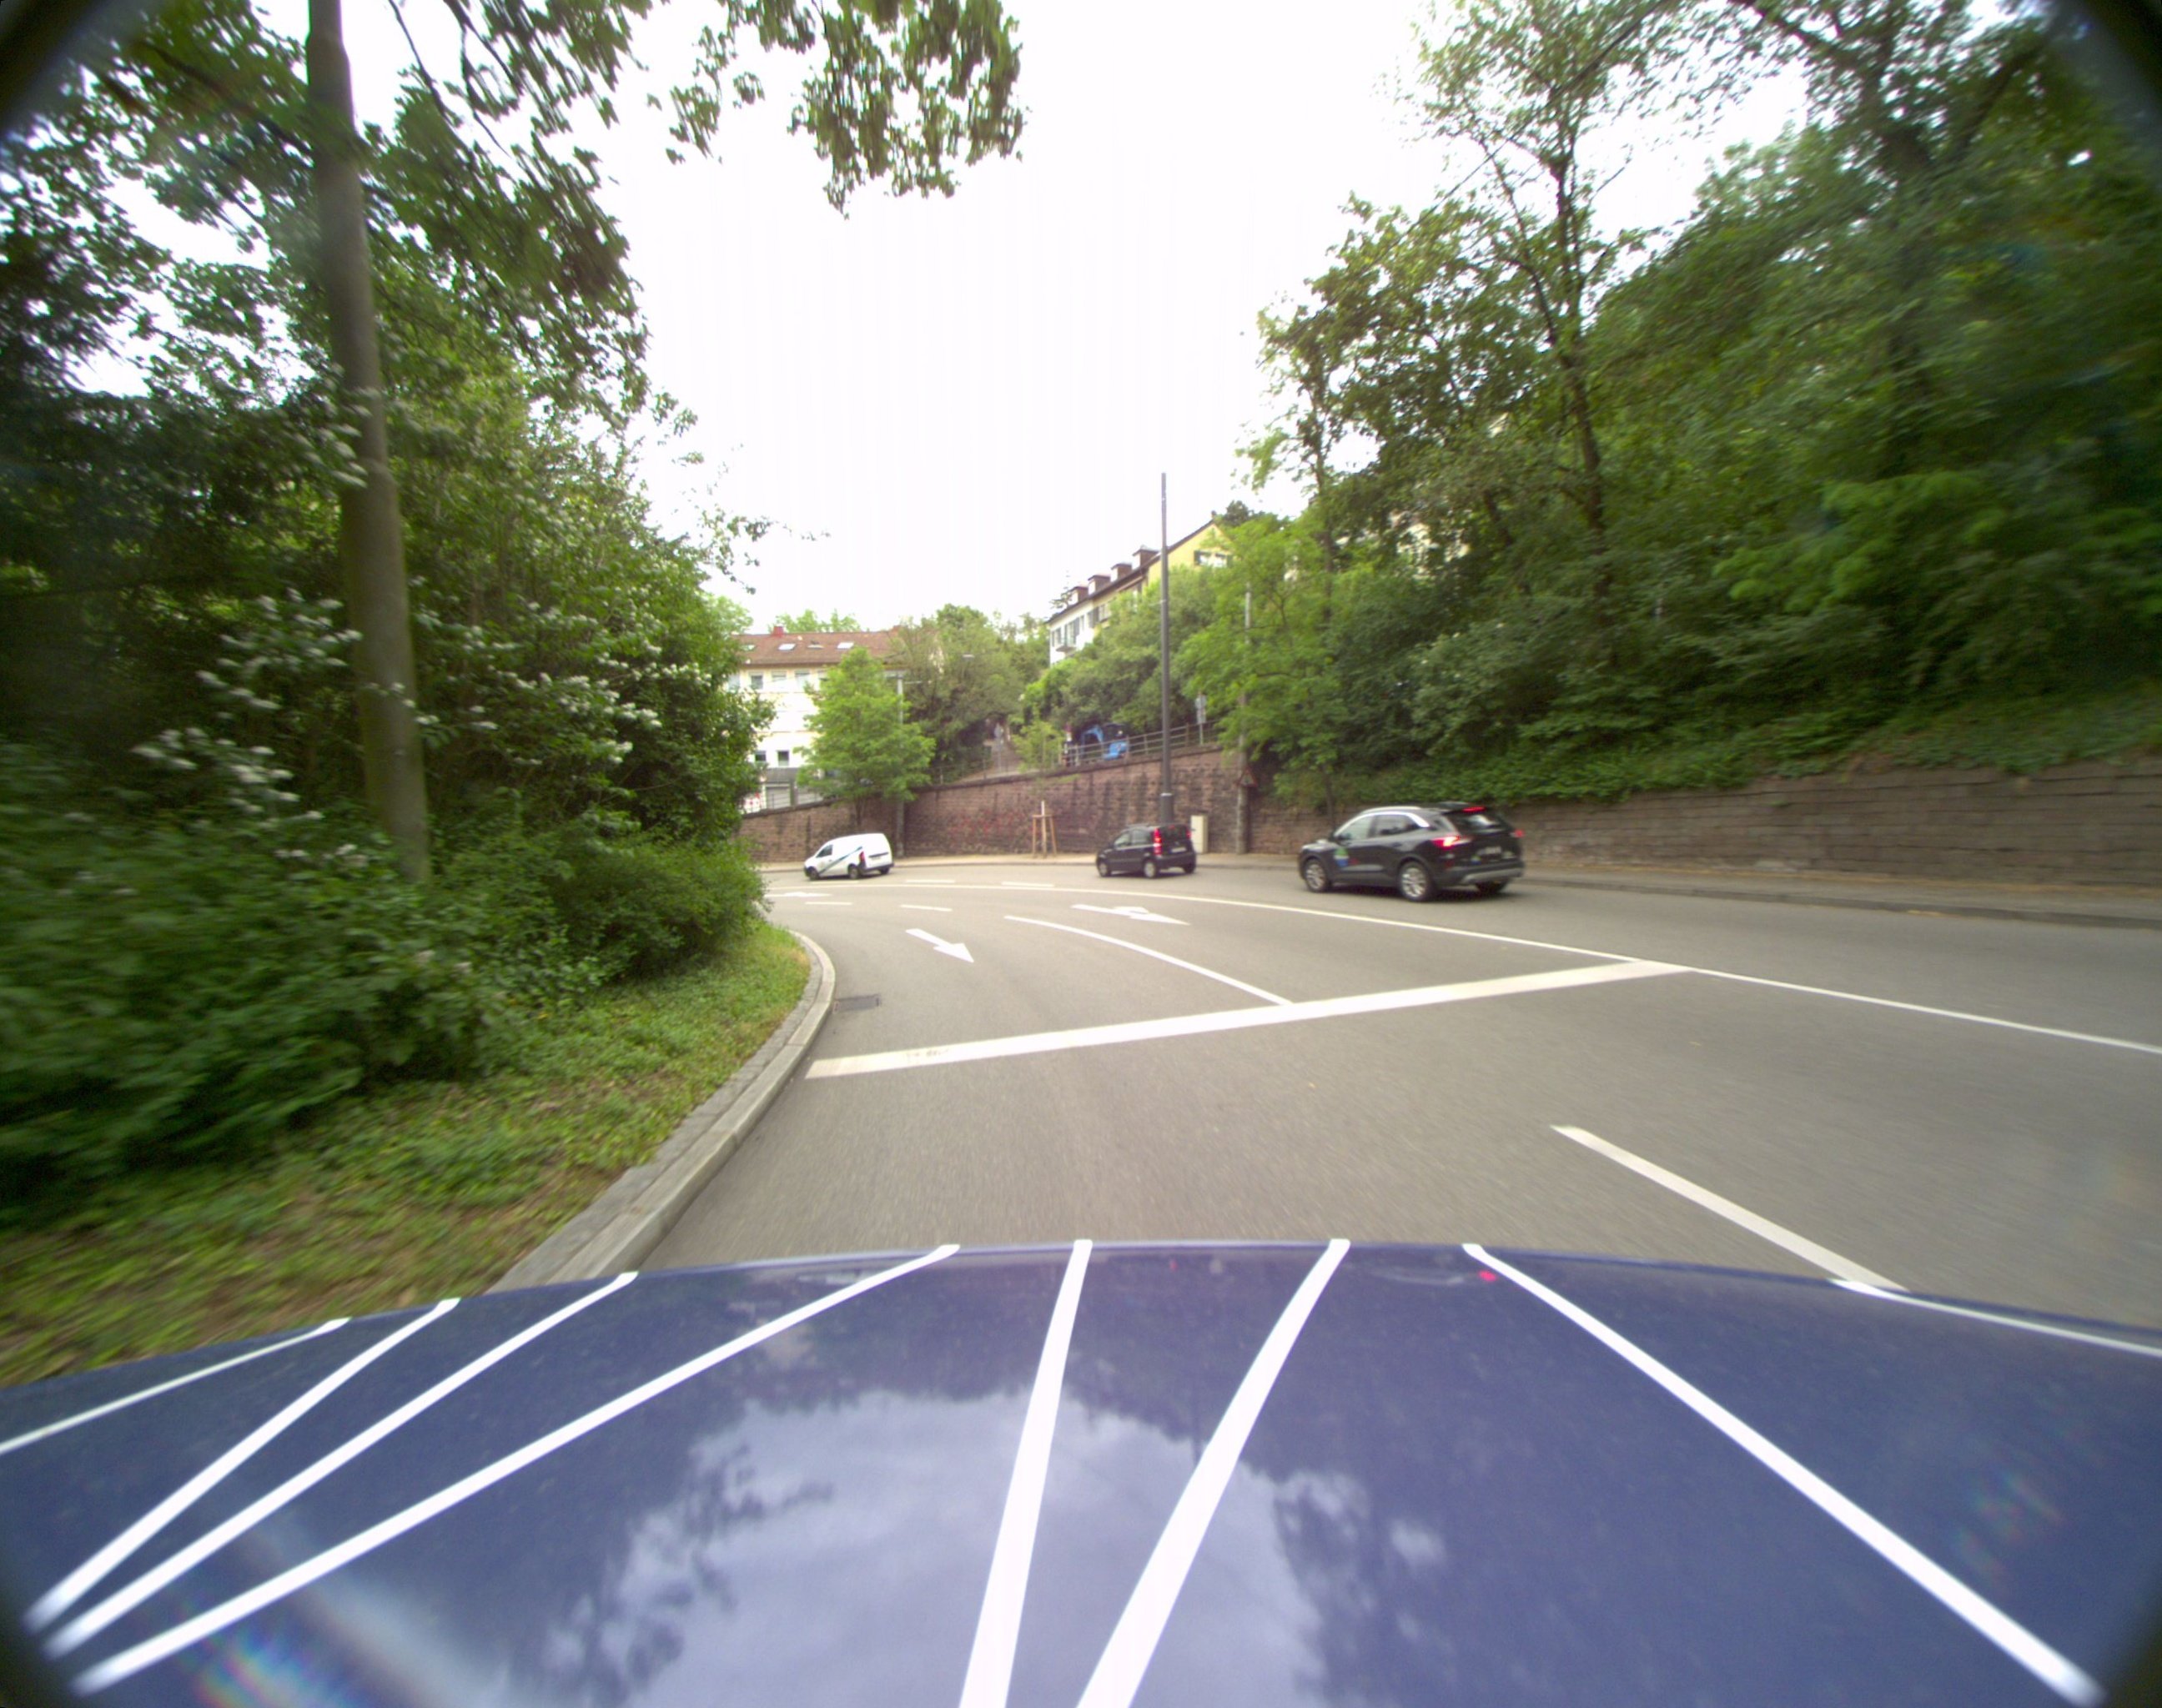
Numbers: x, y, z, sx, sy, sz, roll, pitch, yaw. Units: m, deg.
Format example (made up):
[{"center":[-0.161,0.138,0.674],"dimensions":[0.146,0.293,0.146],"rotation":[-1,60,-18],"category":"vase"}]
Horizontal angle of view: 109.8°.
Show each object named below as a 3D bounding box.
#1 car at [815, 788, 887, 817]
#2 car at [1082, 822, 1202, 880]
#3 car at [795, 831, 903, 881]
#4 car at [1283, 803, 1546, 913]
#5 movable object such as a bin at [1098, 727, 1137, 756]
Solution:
[{"center":[-15.099,-3.391,49.856],"dimensions":[4.057,1.632,1.774],"rotation":[-2,7,16],"category":"car"},{"center":[1.751,-0.075,22.764],"dimensions":[1.513,1.517,3.651],"rotation":[-7,3,-34],"category":"car"},{"center":[-10.315,0.113,33.658],"dimensions":[4.658,1.755,1.829],"rotation":[-3,7,33],"category":"car"},{"center":[5.866,0.021,14.104],"dimensions":[1.761,1.615,4.641],"rotation":[-4,2,-18],"category":"car"},{"center":[1.997,-6.098,41.257],"dimensions":[1.600,1.349,1.254],"rotation":[-2,4,41],"category":"movable object such as a bin"}]
